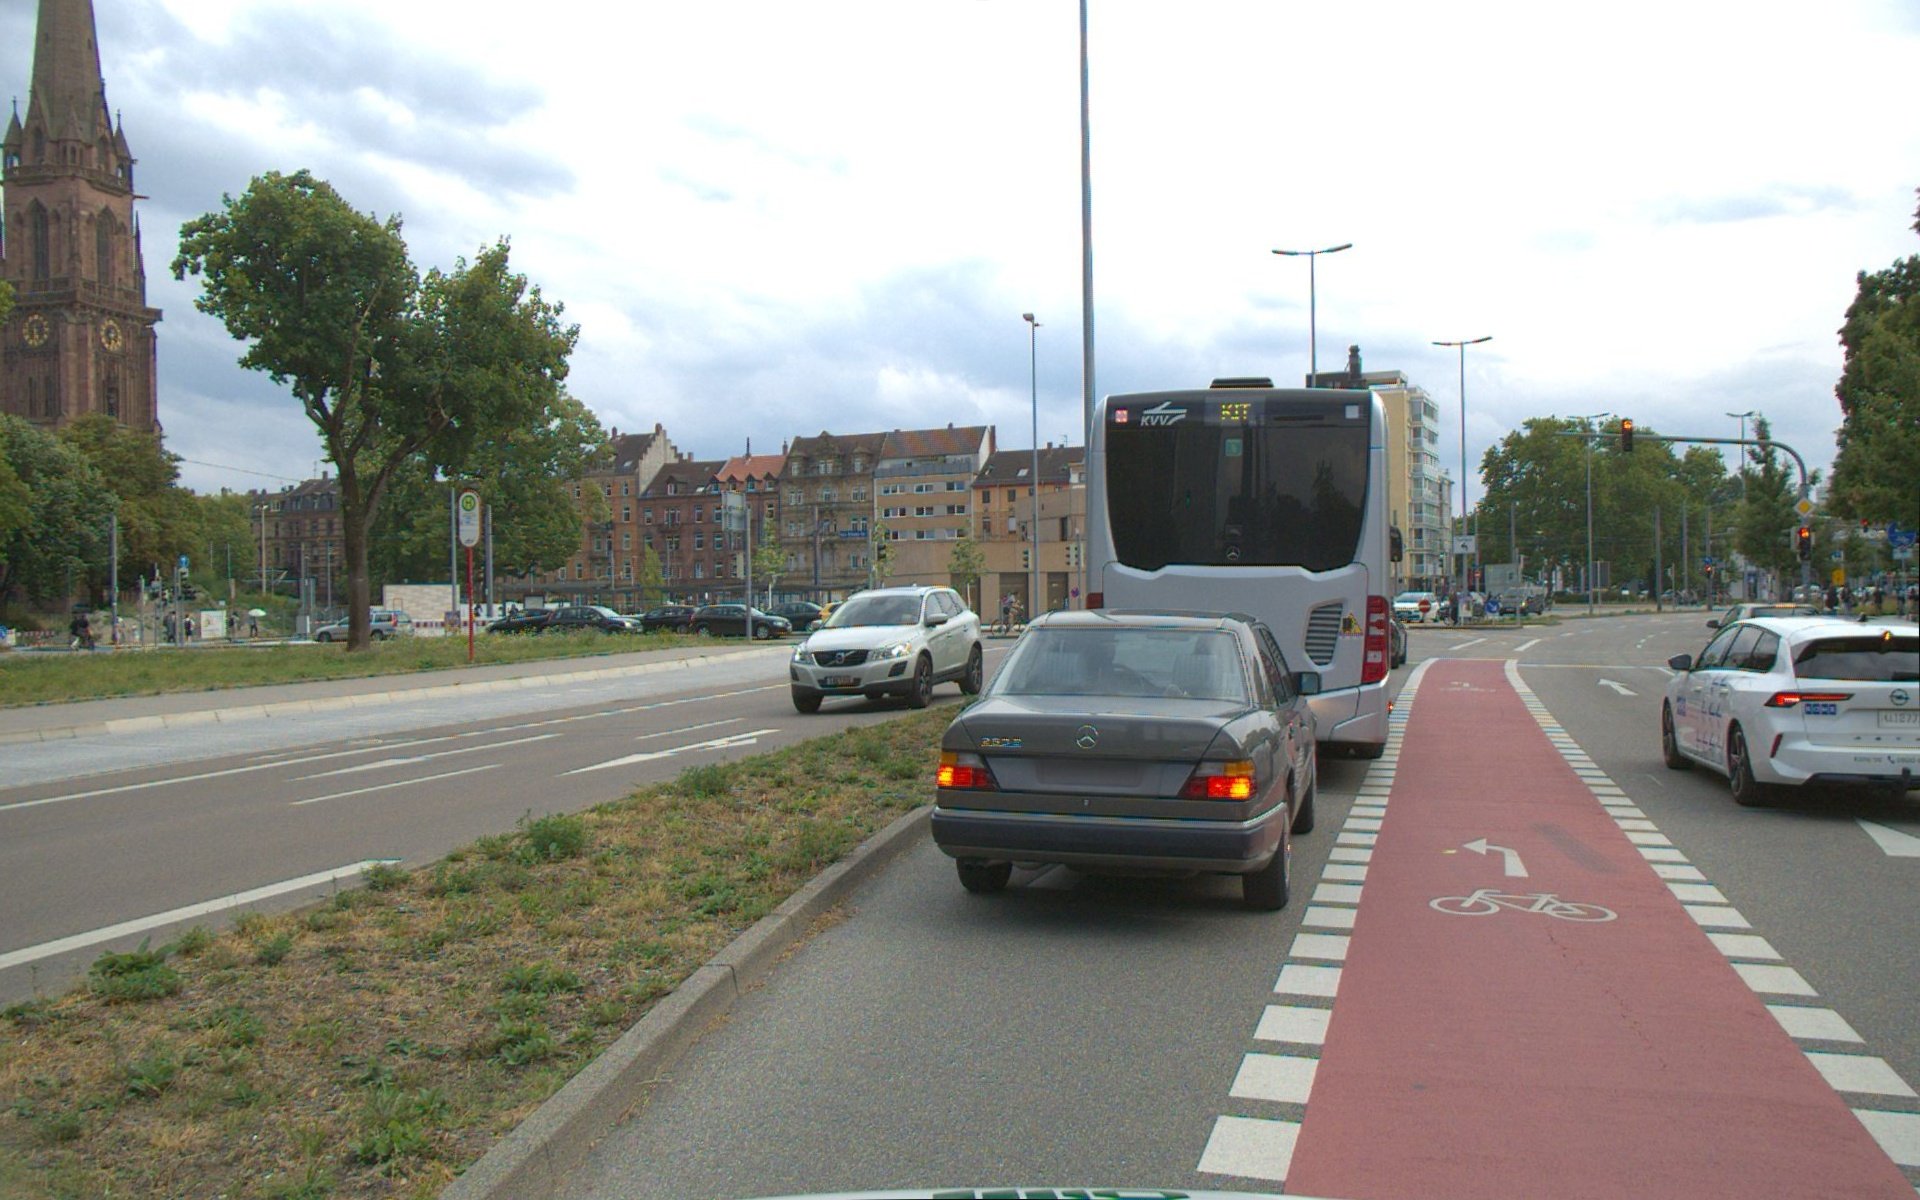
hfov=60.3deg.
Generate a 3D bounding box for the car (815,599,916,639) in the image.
[{"bbox_3d":[-3.800,0.732,66.601,3.774,1.544,1.662,0,0,11],"label":"car"}]

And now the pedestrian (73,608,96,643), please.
[{"bbox_3d":[-41.261,1.203,77.976,0.549,1.587,0.727,-1,2,10],"label":"pedestrian"}]

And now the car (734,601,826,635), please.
[{"bbox_3d":[-7.795,0.758,71.809,3.683,1.419,1.586,1,0,11],"label":"car"}]

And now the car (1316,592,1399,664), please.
[{"bbox_3d":[8.540,0.568,35.590,1.619,1.421,3.863,-1,0,13],"label":"car"}]

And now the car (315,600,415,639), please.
[{"bbox_3d":[-27.647,0.909,76.844,4.065,1.678,1.648,-1,0,10],"label":"car"}]

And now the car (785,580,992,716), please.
[{"bbox_3d":[-0.920,0.626,23.971,1.743,1.760,4.376,-2,0,15],"label":"car"}]

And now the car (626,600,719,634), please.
[{"bbox_3d":[-12.599,0.733,72.639,3.683,1.419,1.586,1,0,11],"label":"car"}]

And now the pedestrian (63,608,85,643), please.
[{"bbox_3d":[-42.095,1.198,78.594,0.549,1.587,0.727,-1,2,10],"label":"pedestrian"}]

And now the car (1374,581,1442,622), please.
[{"bbox_3d":[24.853,0.080,91.559,2.533,2.146,5.595,-1,0,27],"label":"car"}]

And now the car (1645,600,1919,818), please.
[{"bbox_3d":[7.079,0.765,13.853,1.703,1.464,4.786,-1,0,13],"label":"car"}]

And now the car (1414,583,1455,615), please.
[{"bbox_3d":[28.577,-0.065,99.532,1.770,1.883,3.998,-1,0,24],"label":"car"}]

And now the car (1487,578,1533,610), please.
[{"bbox_3d":[36.657,-0.395,110.192,1.958,2.049,3.989,-1,0,33],"label":"car"}]

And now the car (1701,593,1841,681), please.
[{"bbox_3d":[14.641,0.630,30.033,1.688,1.483,3.738,-1,0,17],"label":"car"}]

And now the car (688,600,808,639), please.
[{"bbox_3d":[-8.622,0.765,67.354,4.569,1.501,1.662,1,0,11],"label":"car"}]

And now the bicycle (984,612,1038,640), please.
[{"bbox_3d":[1.916,0.965,62.287,1.922,0.999,0.631,-1,0,13],"label":"bicycle"}]

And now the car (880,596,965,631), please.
[{"bbox_3d":[-1.611,0.578,71.241,3.598,1.419,1.584,0,0,-2],"label":"car"}]

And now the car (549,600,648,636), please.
[{"bbox_3d":[-14.997,0.731,68.666,3.683,1.419,1.586,1,0,11],"label":"car"}]

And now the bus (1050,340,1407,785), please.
[{"bbox_3d":[3.110,-0.307,17.141,2.771,3.449,8.189,-1,0,14],"label":"bus"}]

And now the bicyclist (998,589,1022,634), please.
[{"bbox_3d":[1.874,0.439,62.298,0.769,1.672,0.614,-1,0,14],"label":"bicyclist"}]

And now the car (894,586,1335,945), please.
[{"bbox_3d":[1.100,0.698,9.251,1.724,1.515,4.174,-1,0,15],"label":"car"}]
